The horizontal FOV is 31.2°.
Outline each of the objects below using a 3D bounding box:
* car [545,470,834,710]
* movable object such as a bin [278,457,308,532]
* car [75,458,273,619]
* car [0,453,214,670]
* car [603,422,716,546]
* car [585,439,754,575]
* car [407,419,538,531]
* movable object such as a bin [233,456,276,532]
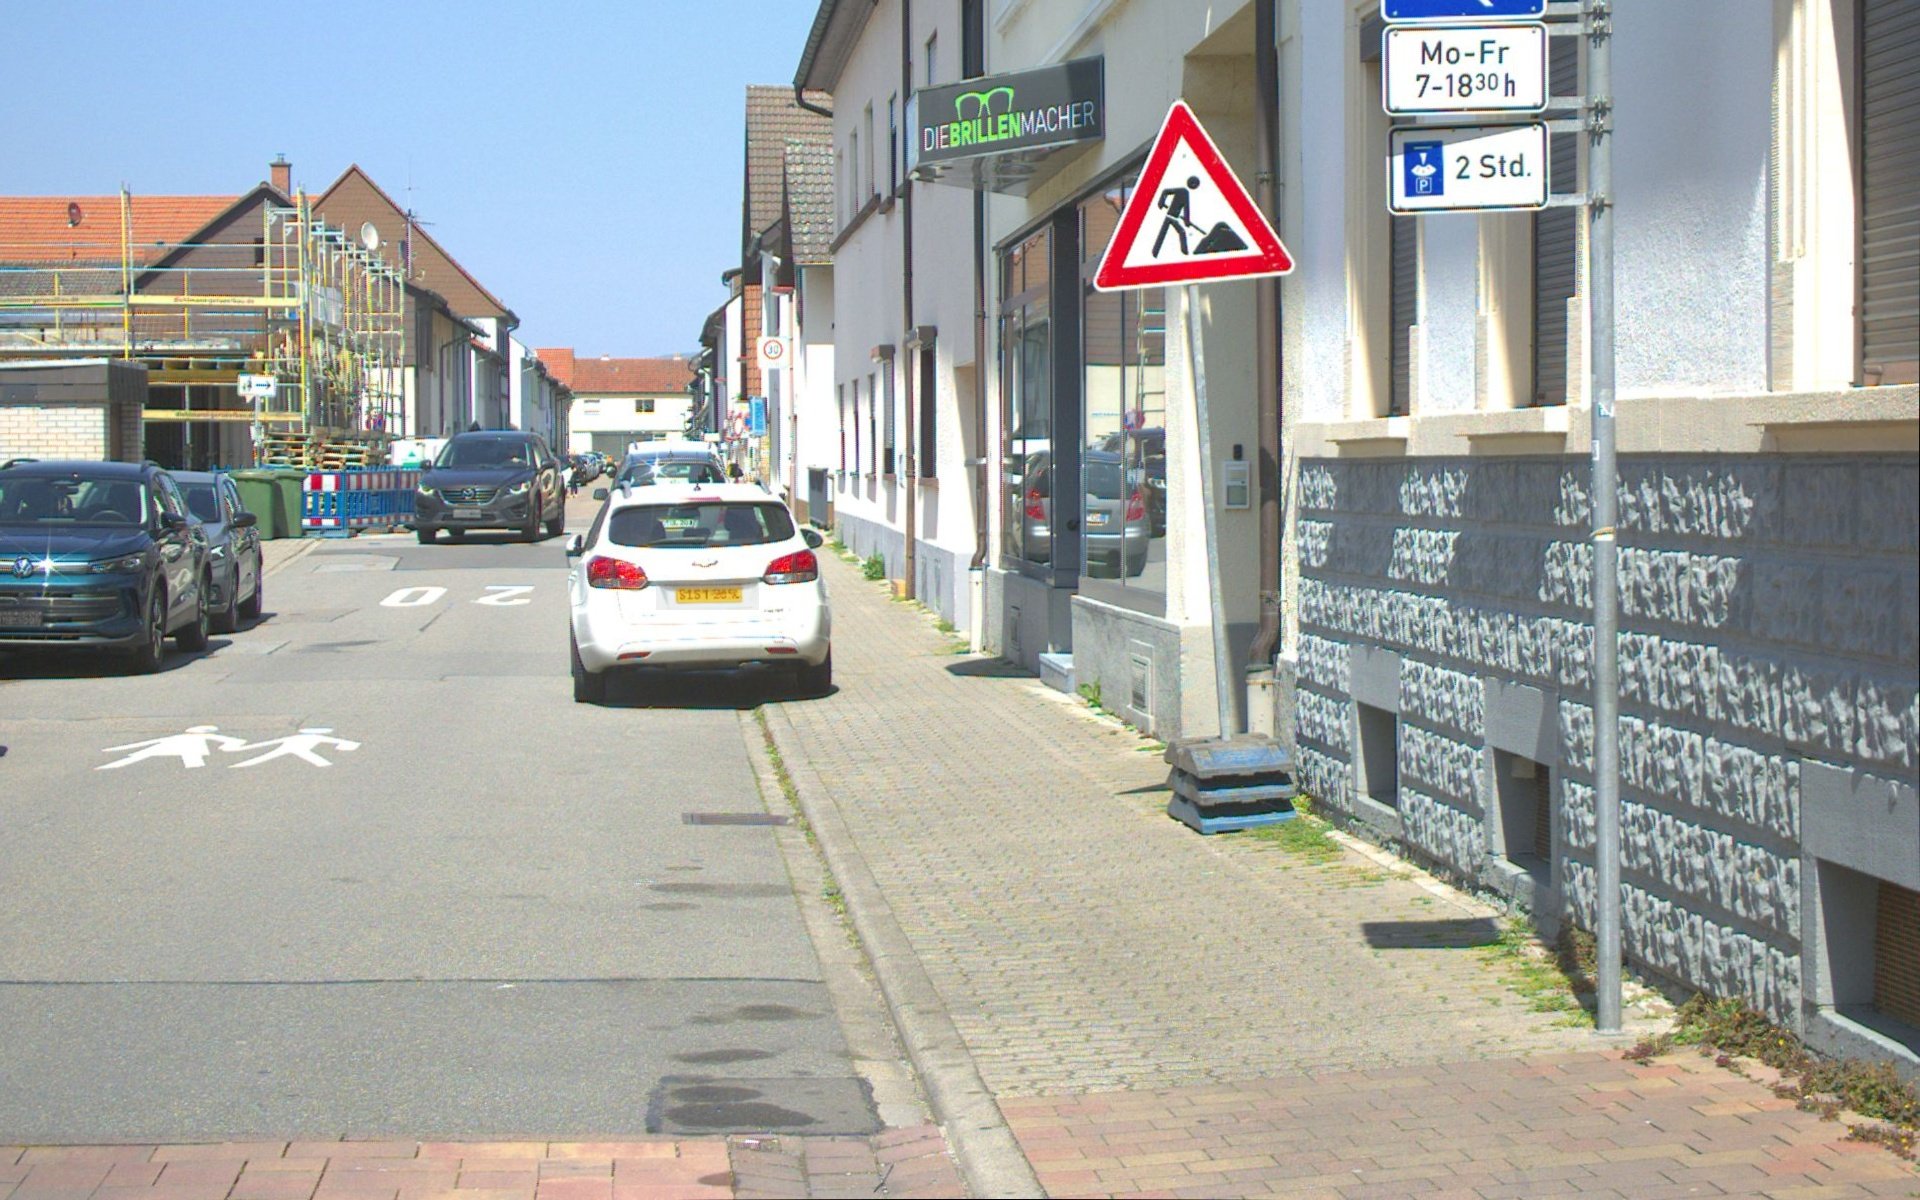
[{"bbox_3d":[-1.952,-0.148,24.777,1.886,1.536,4.244,0,3,-5],"label":"car"},{"bbox_3d":[-10.296,-1.635,53.062,0.431,1.151,0.364,-1,3,-14],"label":"movable object such as a bin"},{"bbox_3d":[-7.656,-0.642,33.739,1.436,1.469,3.787,-1,2,-6],"label":"car"},{"bbox_3d":[-7.247,-0.380,28.089,1.826,1.624,4.218,-1,3,-7],"label":"car"},{"bbox_3d":[-4.355,-1.708,49.700,1.564,1.607,3.544,-1,5,-5],"label":"car"},{"bbox_3d":[-3.804,-1.241,44.561,1.884,1.550,3.896,-4,3,-8],"label":"car"},{"bbox_3d":[-7.539,-1.960,53.465,1.881,1.662,4.155,-1,3,-6],"label":"car"},{"bbox_3d":[-10.780,-1.625,52.527,0.621,1.151,0.677,-1,3,-12],"label":"movable object such as a bin"}]
